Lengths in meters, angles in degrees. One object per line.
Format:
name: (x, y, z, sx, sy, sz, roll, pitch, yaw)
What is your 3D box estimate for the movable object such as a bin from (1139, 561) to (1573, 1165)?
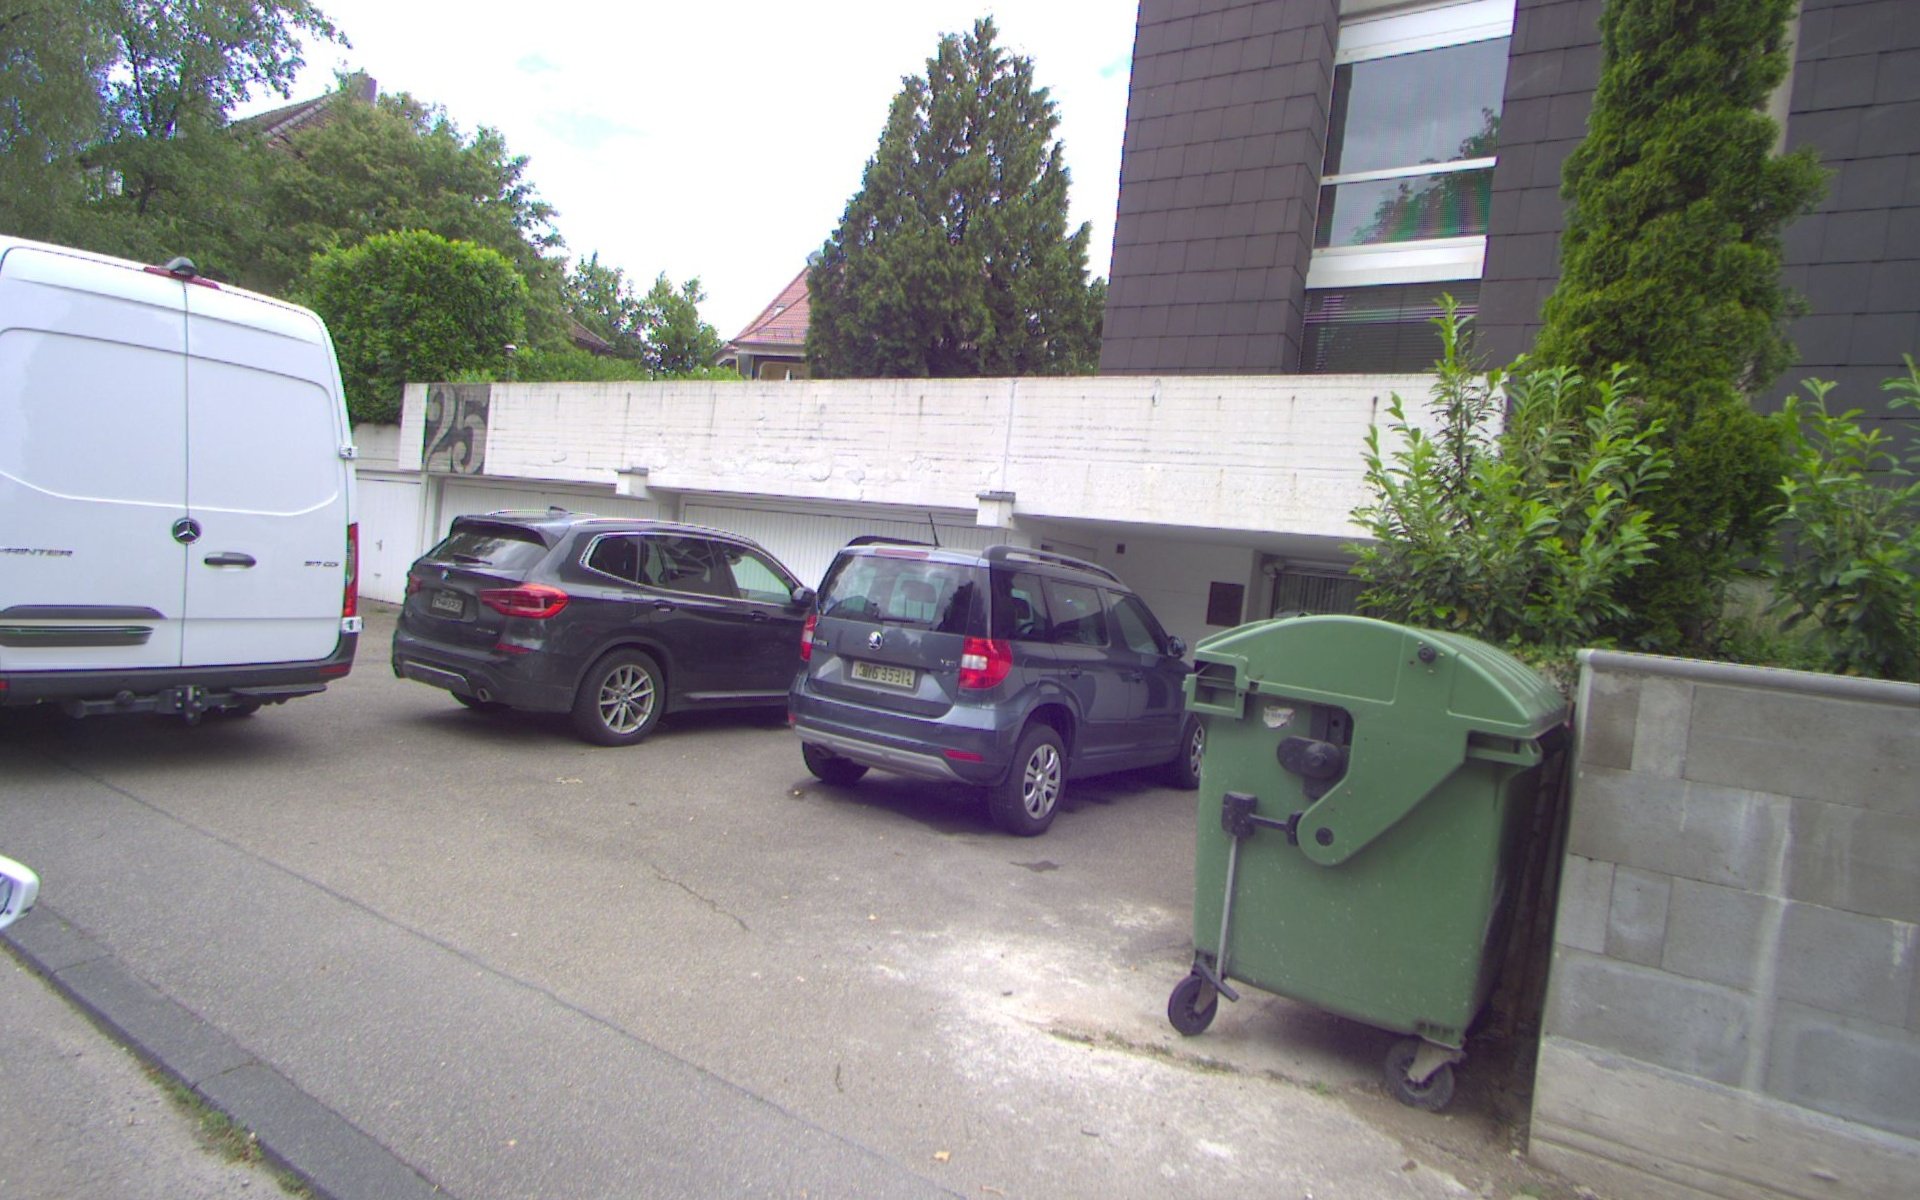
movable object such as a bin: (1.362, 0.725, 3.390, 1.016, 1.550, 1.034, 7, 2, 33)

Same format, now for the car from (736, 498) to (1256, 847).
car: (0.543, 0.449, 7.396, 1.804, 1.772, 3.973, 7, 1, 35)

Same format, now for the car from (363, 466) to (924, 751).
car: (-2.352, 0.119, 8.676, 1.710, 1.772, 4.418, 7, 1, 33)

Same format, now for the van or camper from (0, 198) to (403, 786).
van or camper: (-6.696, -0.738, 6.899, 6.432, 2.653, 1.995, 7, 1, 32)
